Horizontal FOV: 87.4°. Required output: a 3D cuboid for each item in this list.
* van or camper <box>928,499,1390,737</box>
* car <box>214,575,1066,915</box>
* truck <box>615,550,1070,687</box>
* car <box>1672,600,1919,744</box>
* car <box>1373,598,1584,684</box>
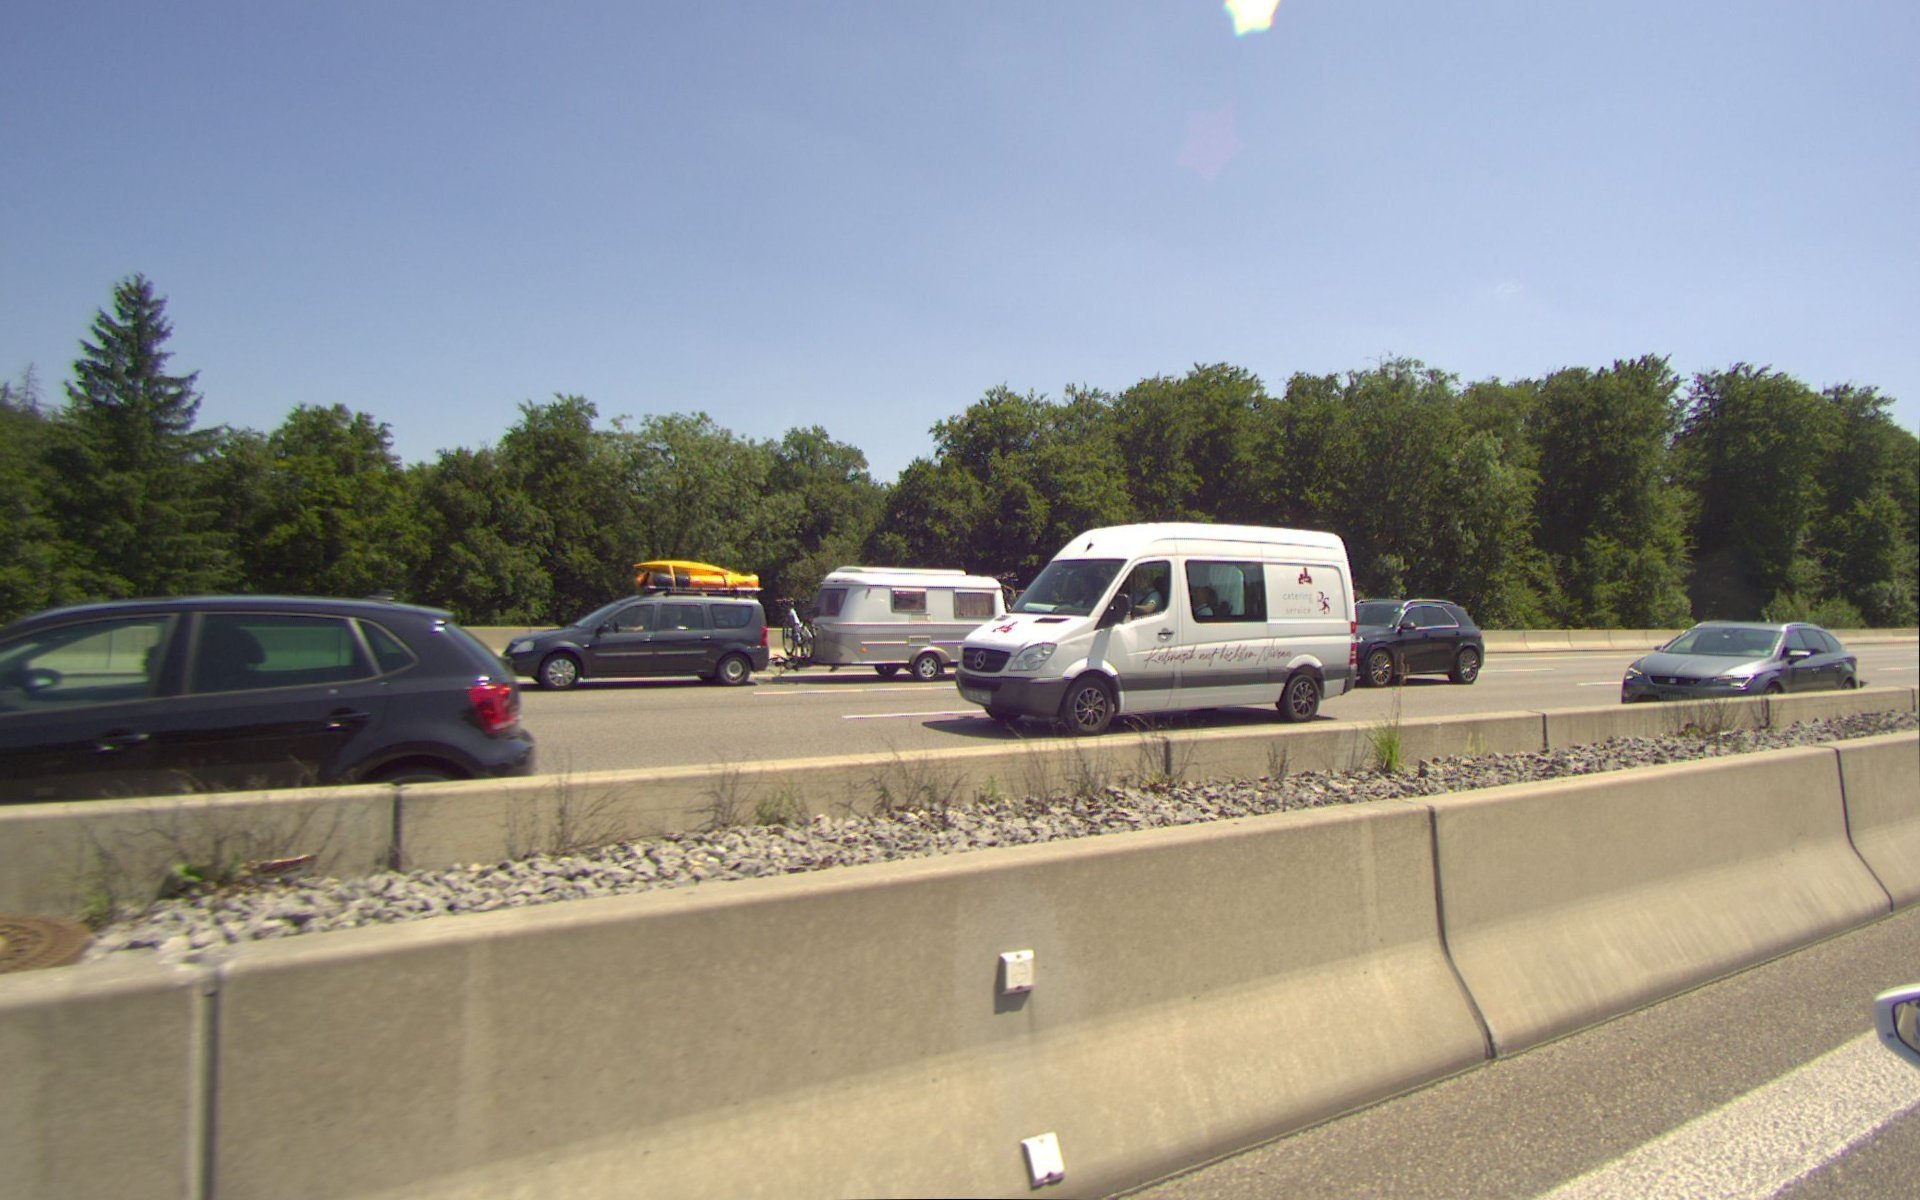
[{"bbox_3d":[2.850,0.269,13.517,6.327,2.600,2.089,2,0,-31],"label":"van or camper"},{"bbox_3d":[-1.760,0.708,6.533,4.770,1.530,1.760,2,0,-32],"label":"car"},{"bbox_3d":[-2.038,0.426,19.715,8.714,2.284,2.038,2,0,-29],"label":"truck"},{"bbox_3d":[13.587,1.113,16.098,5.032,1.970,1.759,3,0,-33],"label":"car"},{"bbox_3d":[11.984,0.920,23.125,5.010,1.785,1.984,2,0,-31],"label":"car"}]
